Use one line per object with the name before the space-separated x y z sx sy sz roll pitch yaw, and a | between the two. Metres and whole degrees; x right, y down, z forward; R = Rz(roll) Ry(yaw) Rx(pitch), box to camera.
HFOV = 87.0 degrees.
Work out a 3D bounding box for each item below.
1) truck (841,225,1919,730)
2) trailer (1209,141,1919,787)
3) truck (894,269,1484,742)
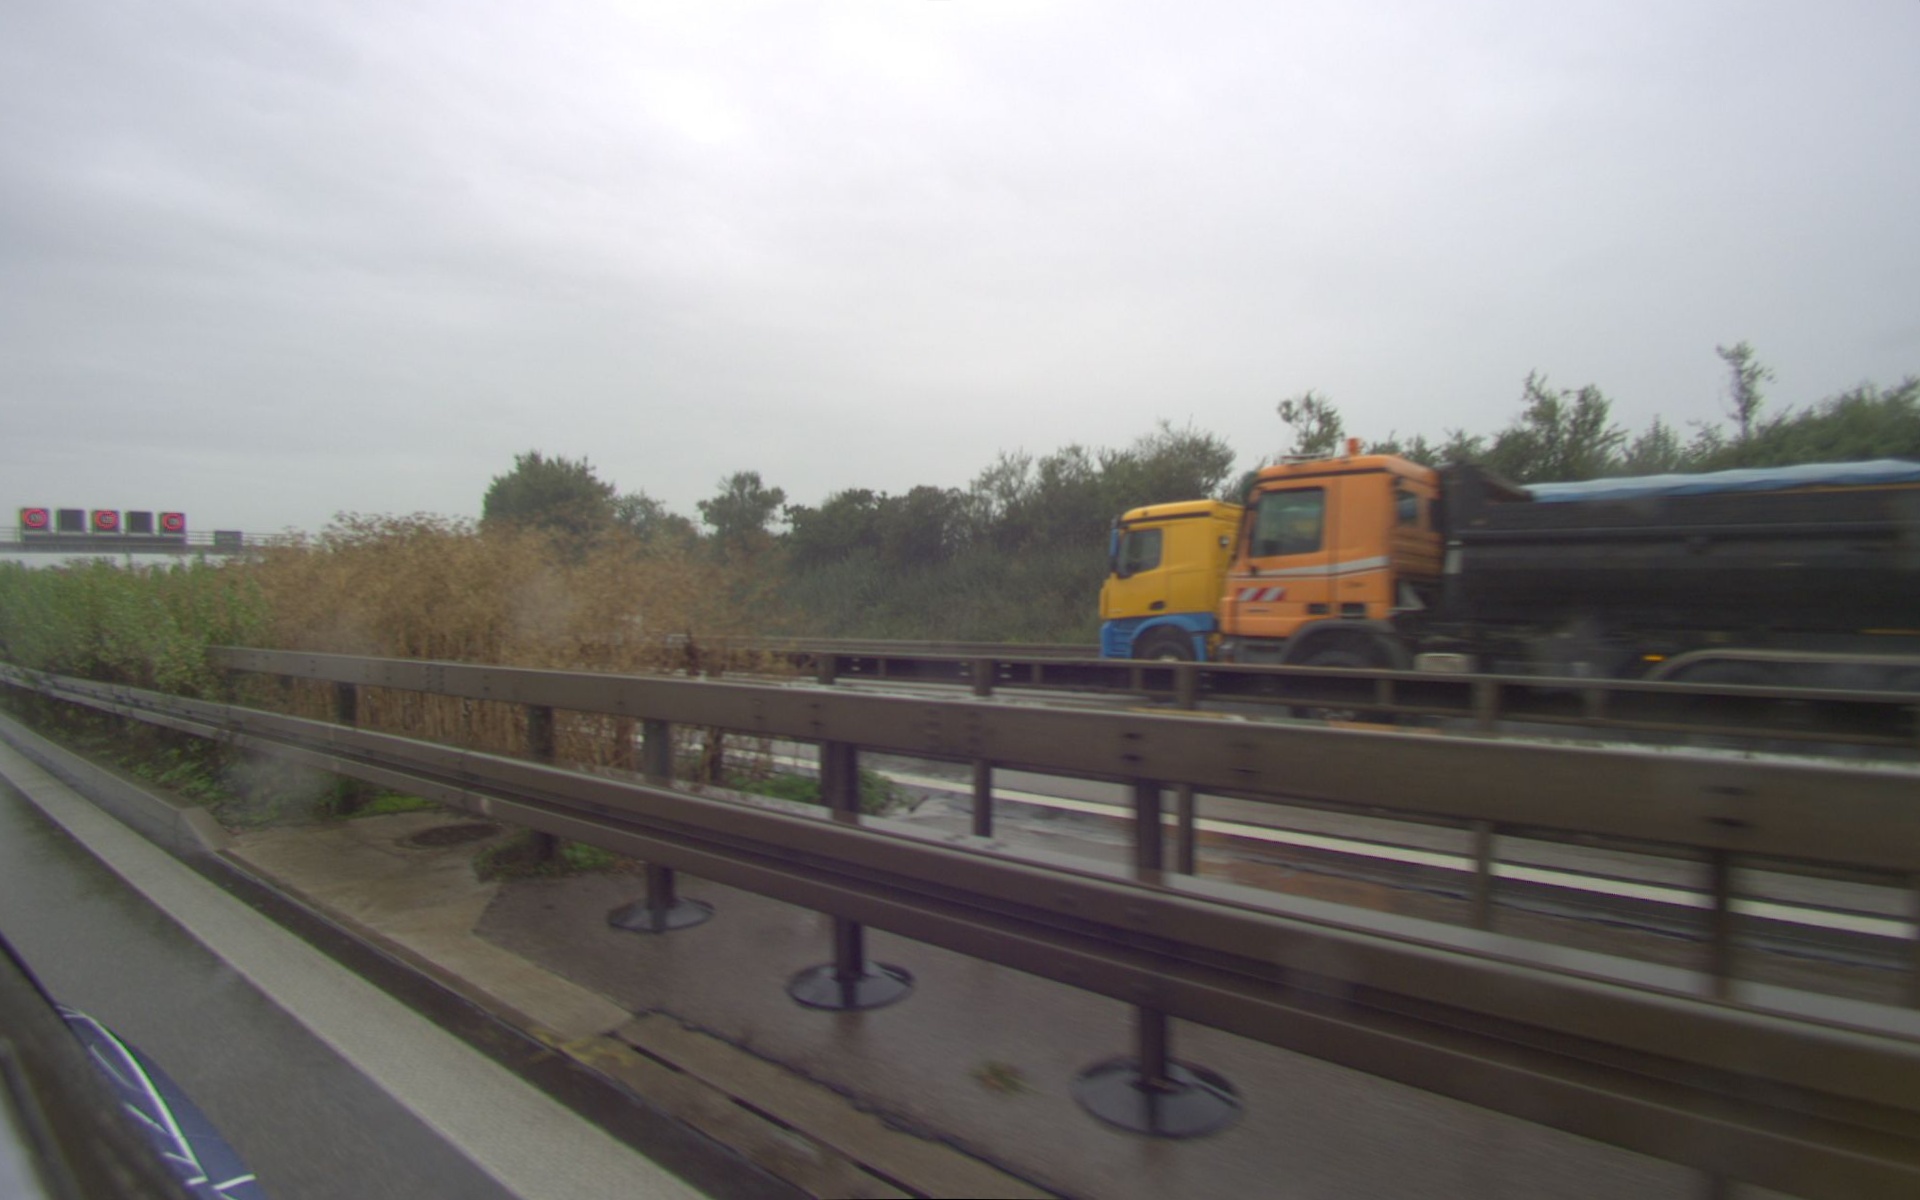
truck | 5.511 -1.065 16.356 18.222 5.083 3.677 -2 -2 42
trailer | 9.148 -0.926 6.682 14.673 4.334 3.494 -1 -1 42
truck | 2.602 -0.808 12.520 6.216 4.274 3.486 -1 -1 42
